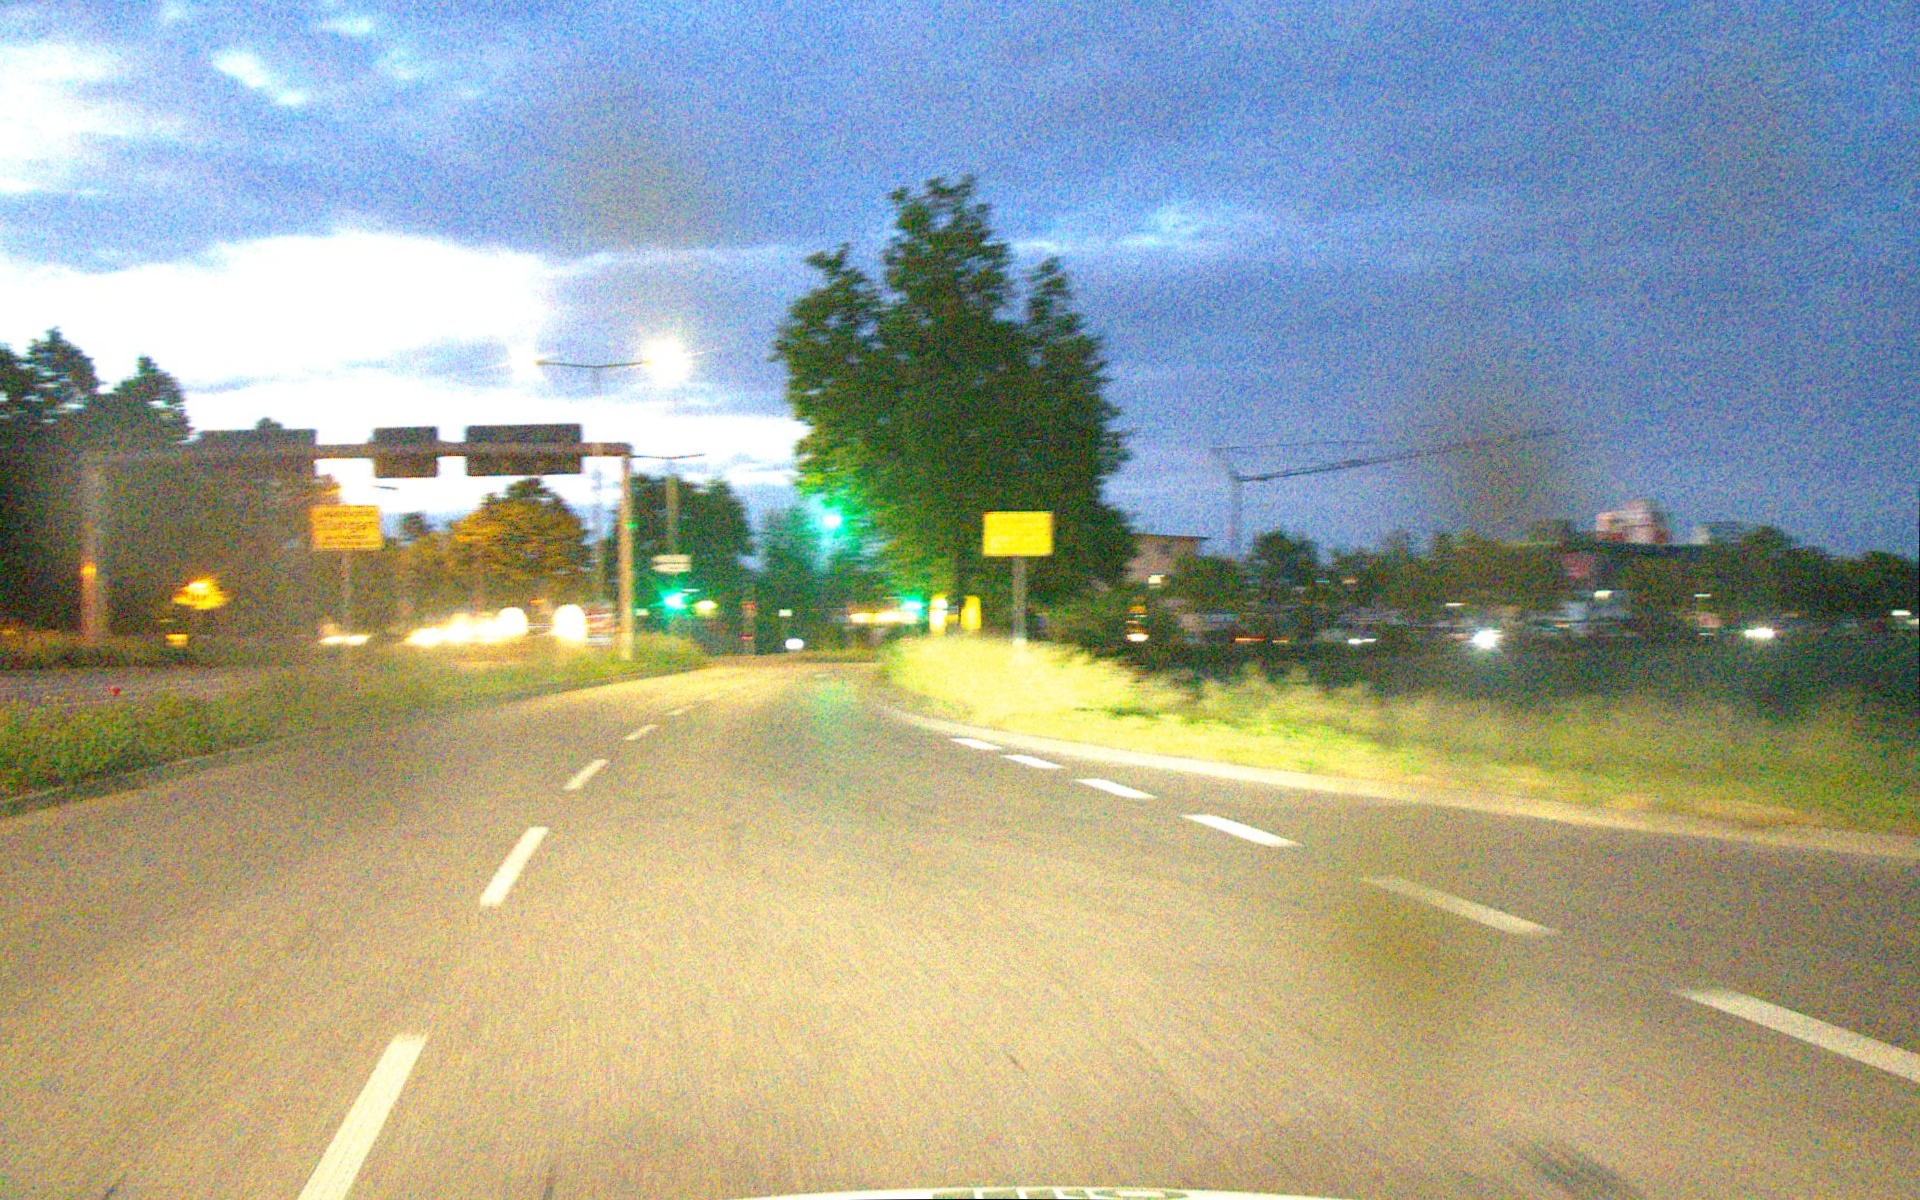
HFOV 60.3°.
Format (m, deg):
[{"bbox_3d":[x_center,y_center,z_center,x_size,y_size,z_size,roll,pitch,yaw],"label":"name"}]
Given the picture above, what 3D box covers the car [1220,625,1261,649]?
[{"bbox_3d":[26.045,3.442,153.452,1.966,2.049,3.974,0,1,43],"label":"car"}]
